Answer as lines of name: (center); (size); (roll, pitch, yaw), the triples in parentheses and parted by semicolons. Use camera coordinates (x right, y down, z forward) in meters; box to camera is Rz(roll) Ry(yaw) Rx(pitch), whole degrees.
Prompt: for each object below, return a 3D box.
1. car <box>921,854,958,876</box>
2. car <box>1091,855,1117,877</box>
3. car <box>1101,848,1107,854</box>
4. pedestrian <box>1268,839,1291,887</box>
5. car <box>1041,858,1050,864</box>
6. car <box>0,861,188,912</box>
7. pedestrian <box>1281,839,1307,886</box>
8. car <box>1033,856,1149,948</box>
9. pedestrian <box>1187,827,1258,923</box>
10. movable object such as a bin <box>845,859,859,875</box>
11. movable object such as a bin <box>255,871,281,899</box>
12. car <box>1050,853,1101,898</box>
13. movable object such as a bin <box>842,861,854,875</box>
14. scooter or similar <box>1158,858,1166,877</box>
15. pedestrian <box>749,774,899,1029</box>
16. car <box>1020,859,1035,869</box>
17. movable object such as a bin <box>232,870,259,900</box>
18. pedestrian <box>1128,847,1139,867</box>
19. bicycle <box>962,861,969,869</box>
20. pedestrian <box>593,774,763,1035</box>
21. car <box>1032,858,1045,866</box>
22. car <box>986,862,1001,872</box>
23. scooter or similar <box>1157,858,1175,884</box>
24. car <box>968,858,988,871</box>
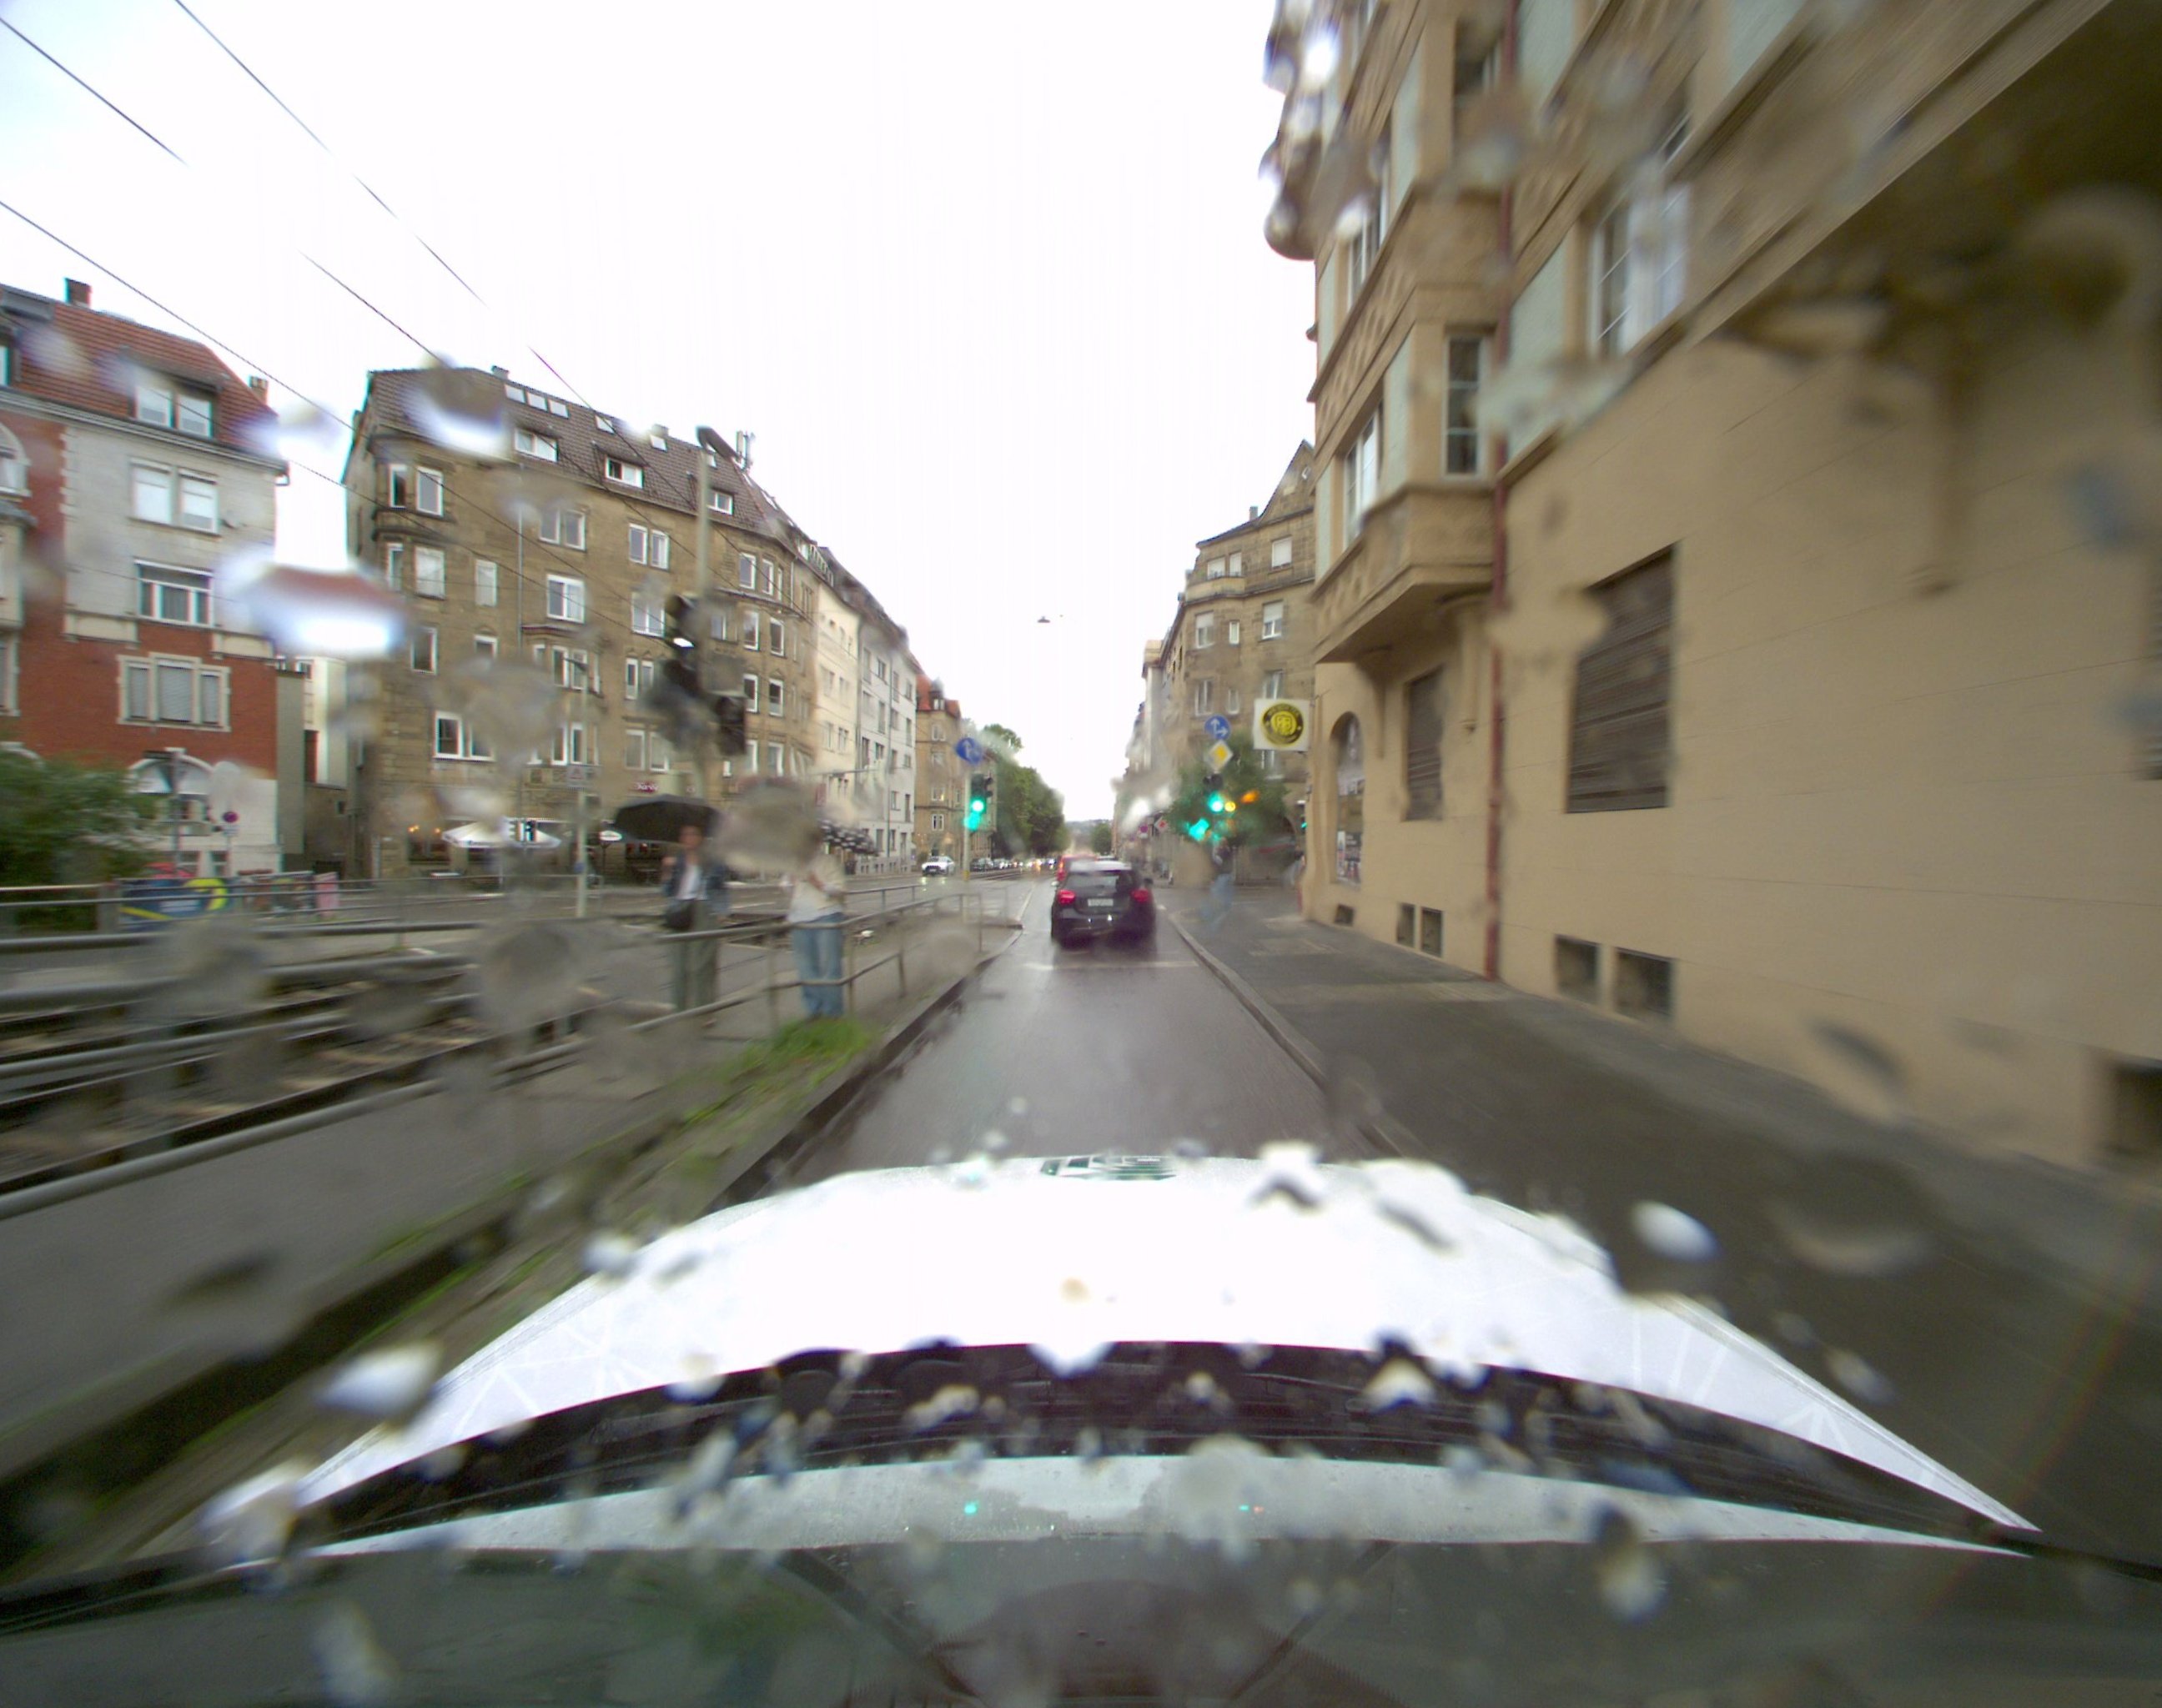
car: (-11.529, 0.887, 66.651); (1.986, 1.628, 5.254); (-1, -1, 1)
car: (1.661, 0.846, 59.293); (1.759, 1.559, 4.747); (-1, 0, 2)
car: (5.941, -0.749, 210.906); (1.607, 1.317, 4.001); (1, -1, 1)
pedestrian: (7.636, 0.337, 31.412); (0.592, 1.788, 0.890); (-2, -1, -2)
car: (-7.871, 1.551, 182.369); (1.688, 1.388, 3.484); (-1, 0, 3)
car: (-30.768, 0.967, 25.321); (1.720, 1.403, 4.024); (-1, -1, 43)
pedestrian: (8.219, 0.332, 31.412); (0.680, 1.788, 0.901); (-2, -1, -2)
car: (0.277, 0.772, 15.063); (1.858, 1.452, 4.003); (0, 0, 3)
pedestrian: (2.865, 0.416, 16.492); (0.907, 1.840, 0.957); (-3, -1, -37)
movable object such as a bin: (-16.552, 0.919, 58.845); (0.710, 1.074, 0.687); (3, -1, 1)
movable object such as a bin: (-30.315, 1.144, 30.368); (0.712, 1.042, 0.554); (-1, -1, 32)
car: (-0.209, 0.699, 28.455); (1.644, 1.452, 3.998); (0, 0, -1)
movable object such as a bin: (-16.646, 0.995, 58.196); (0.591, 0.911, 0.560); (3, -1, 1)
scooter or similar: (5.364, 0.887, 54.104); (0.394, 1.216, 1.106); (0, 0, 0)
pedestrian: (-2.142, 0.374, 6.930); (0.922, 2.014, 0.948); (1, 0, 1)
car: (-8.452, 1.546, 128.298); (1.941, 1.397, 4.276); (-2, 0, 2)
movable object such as a bin: (-30.646, 1.133, 29.870); (0.712, 1.042, 0.554); (-1, -1, 32)
pedestrian: (4.755, 0.277, 73.743); (0.942, 1.769, 1.015); (0, 0, -1)
bicycle: (-14.007, 1.324, 98.617); (0.597, 1.000, 2.077); (-1, 0, -3)
pedestrian: (-3.301, 0.390, 6.773); (0.894, 2.014, 0.948); (1, 0, 1)
car: (-7.599, 1.400, 144.883); (1.799, 1.360, 4.766); (-1, 0, 2)
car: (-12.094, 1.765, 112.566); (1.562, 1.316, 3.484); (-1, 0, 3)
scooter or similar: (4.061, 0.783, 38.953); (0.636, 1.210, 1.551); (-1, 0, -3)
car: (-12.302, 1.267, 97.413); (1.715, 1.541, 3.937); (-1, 0, 3)
